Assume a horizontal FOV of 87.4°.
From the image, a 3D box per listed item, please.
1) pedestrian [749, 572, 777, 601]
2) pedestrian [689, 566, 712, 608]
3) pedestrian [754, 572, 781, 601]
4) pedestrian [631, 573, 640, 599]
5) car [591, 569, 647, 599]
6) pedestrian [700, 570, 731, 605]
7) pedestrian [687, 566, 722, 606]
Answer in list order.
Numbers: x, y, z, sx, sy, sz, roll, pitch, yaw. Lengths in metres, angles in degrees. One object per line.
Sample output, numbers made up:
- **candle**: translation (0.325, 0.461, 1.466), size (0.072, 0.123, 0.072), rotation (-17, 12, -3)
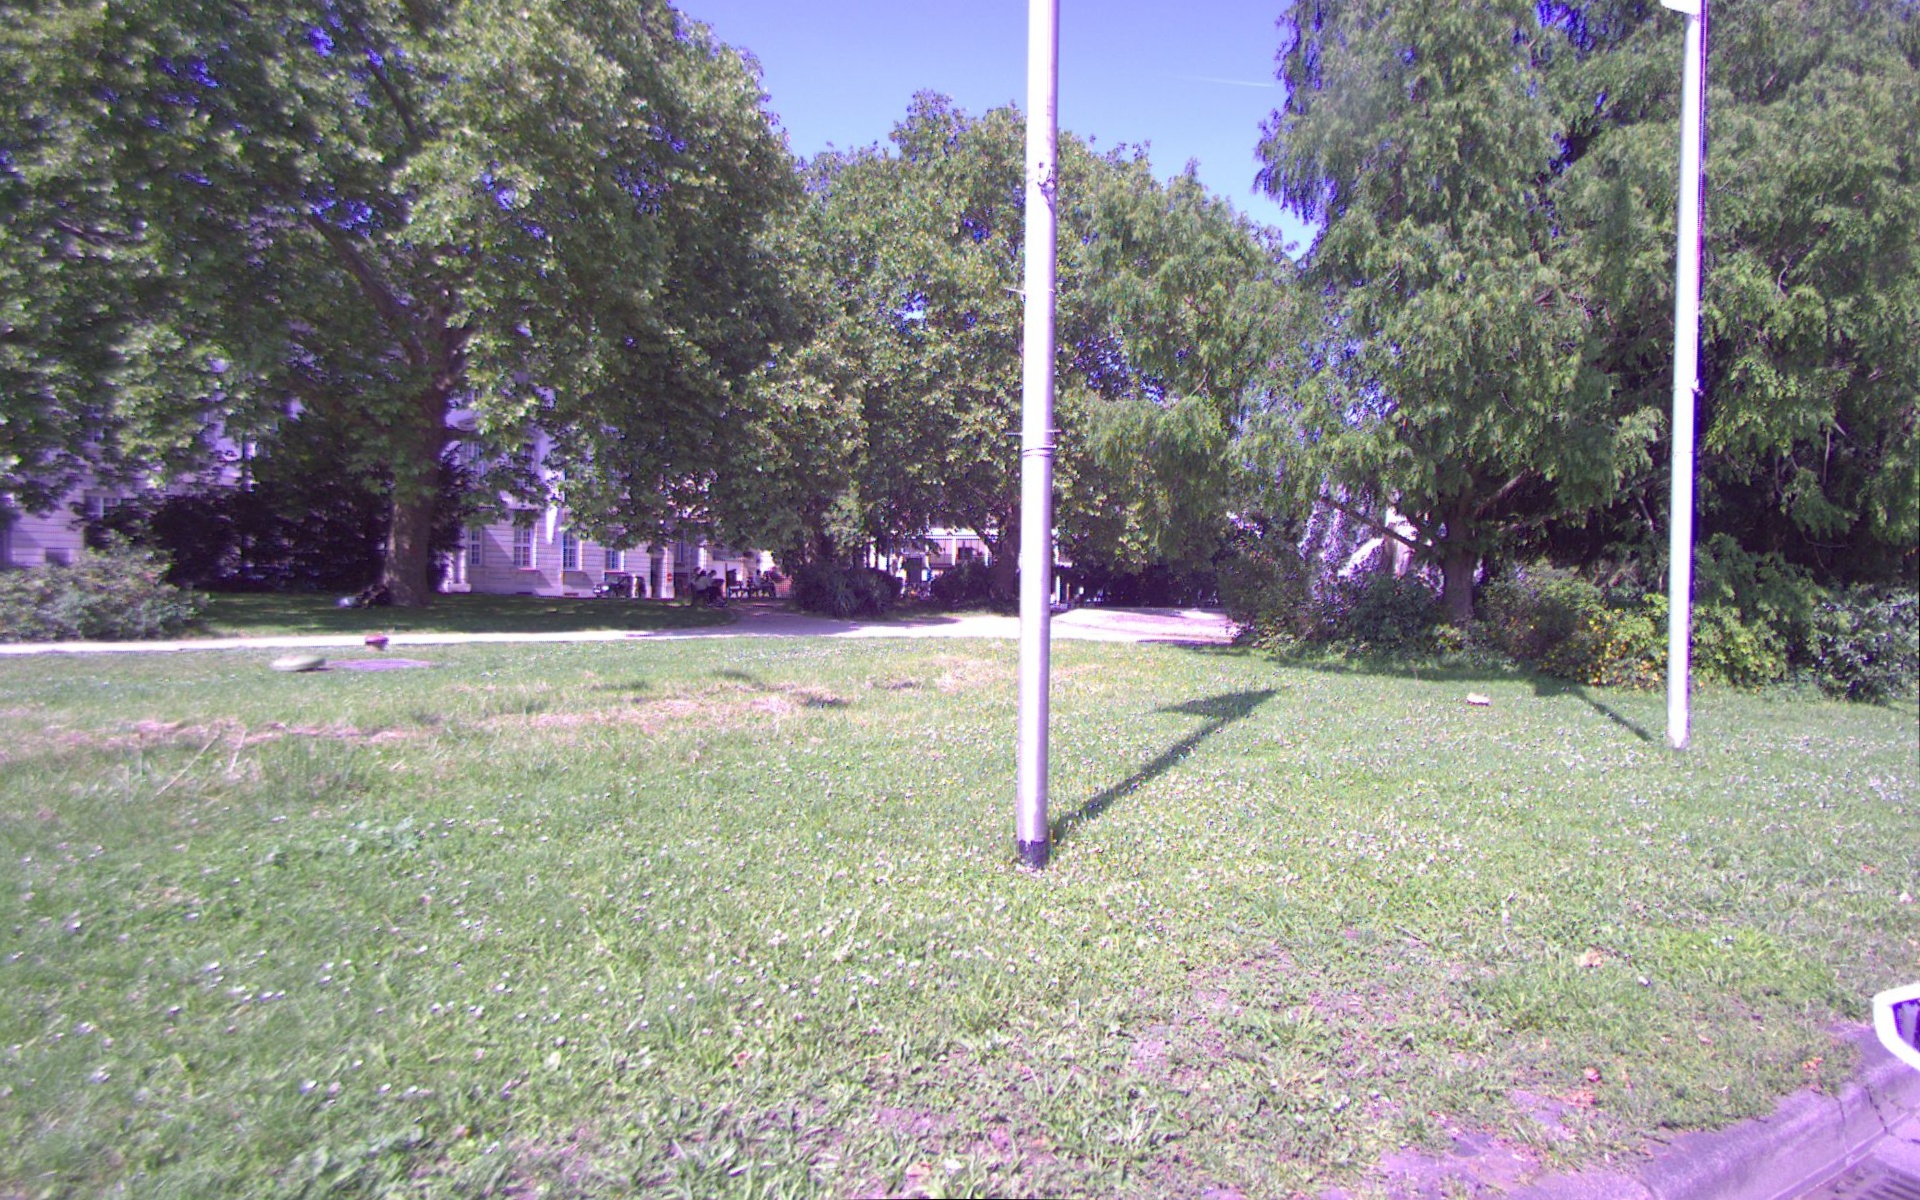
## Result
- **pedestrian**: translation (-8.772, -0.609, 44.689), size (1.037, 1.242, 0.756), rotation (2, 2, 1)
- **pedestrian**: translation (-8.064, -0.410, 31.203), size (0.659, 1.242, 0.754), rotation (1, 2, -16)
- **pedestrian**: translation (-8.712, -0.609, 45.525), size (1.037, 1.242, 0.756), rotation (2, 2, 1)
- **pedestrian**: translation (-20.949, -0.895, 64.819), size (0.486, 1.646, 0.376), rotation (1, 1, -29)
- **car**: translation (-22.256, -1.030, 65.697), size (1.841, 1.824, 4.002), rotation (2, 0, 9)
- **pedestrian**: translation (-8.904, -0.452, 36.622), size (1.041, 1.242, 0.754), rotation (2, 2, -16)
- **pedestrian**: translation (-8.167, -0.448, 32.079), size (1.041, 1.242, 0.754), rotation (2, 2, -16)
